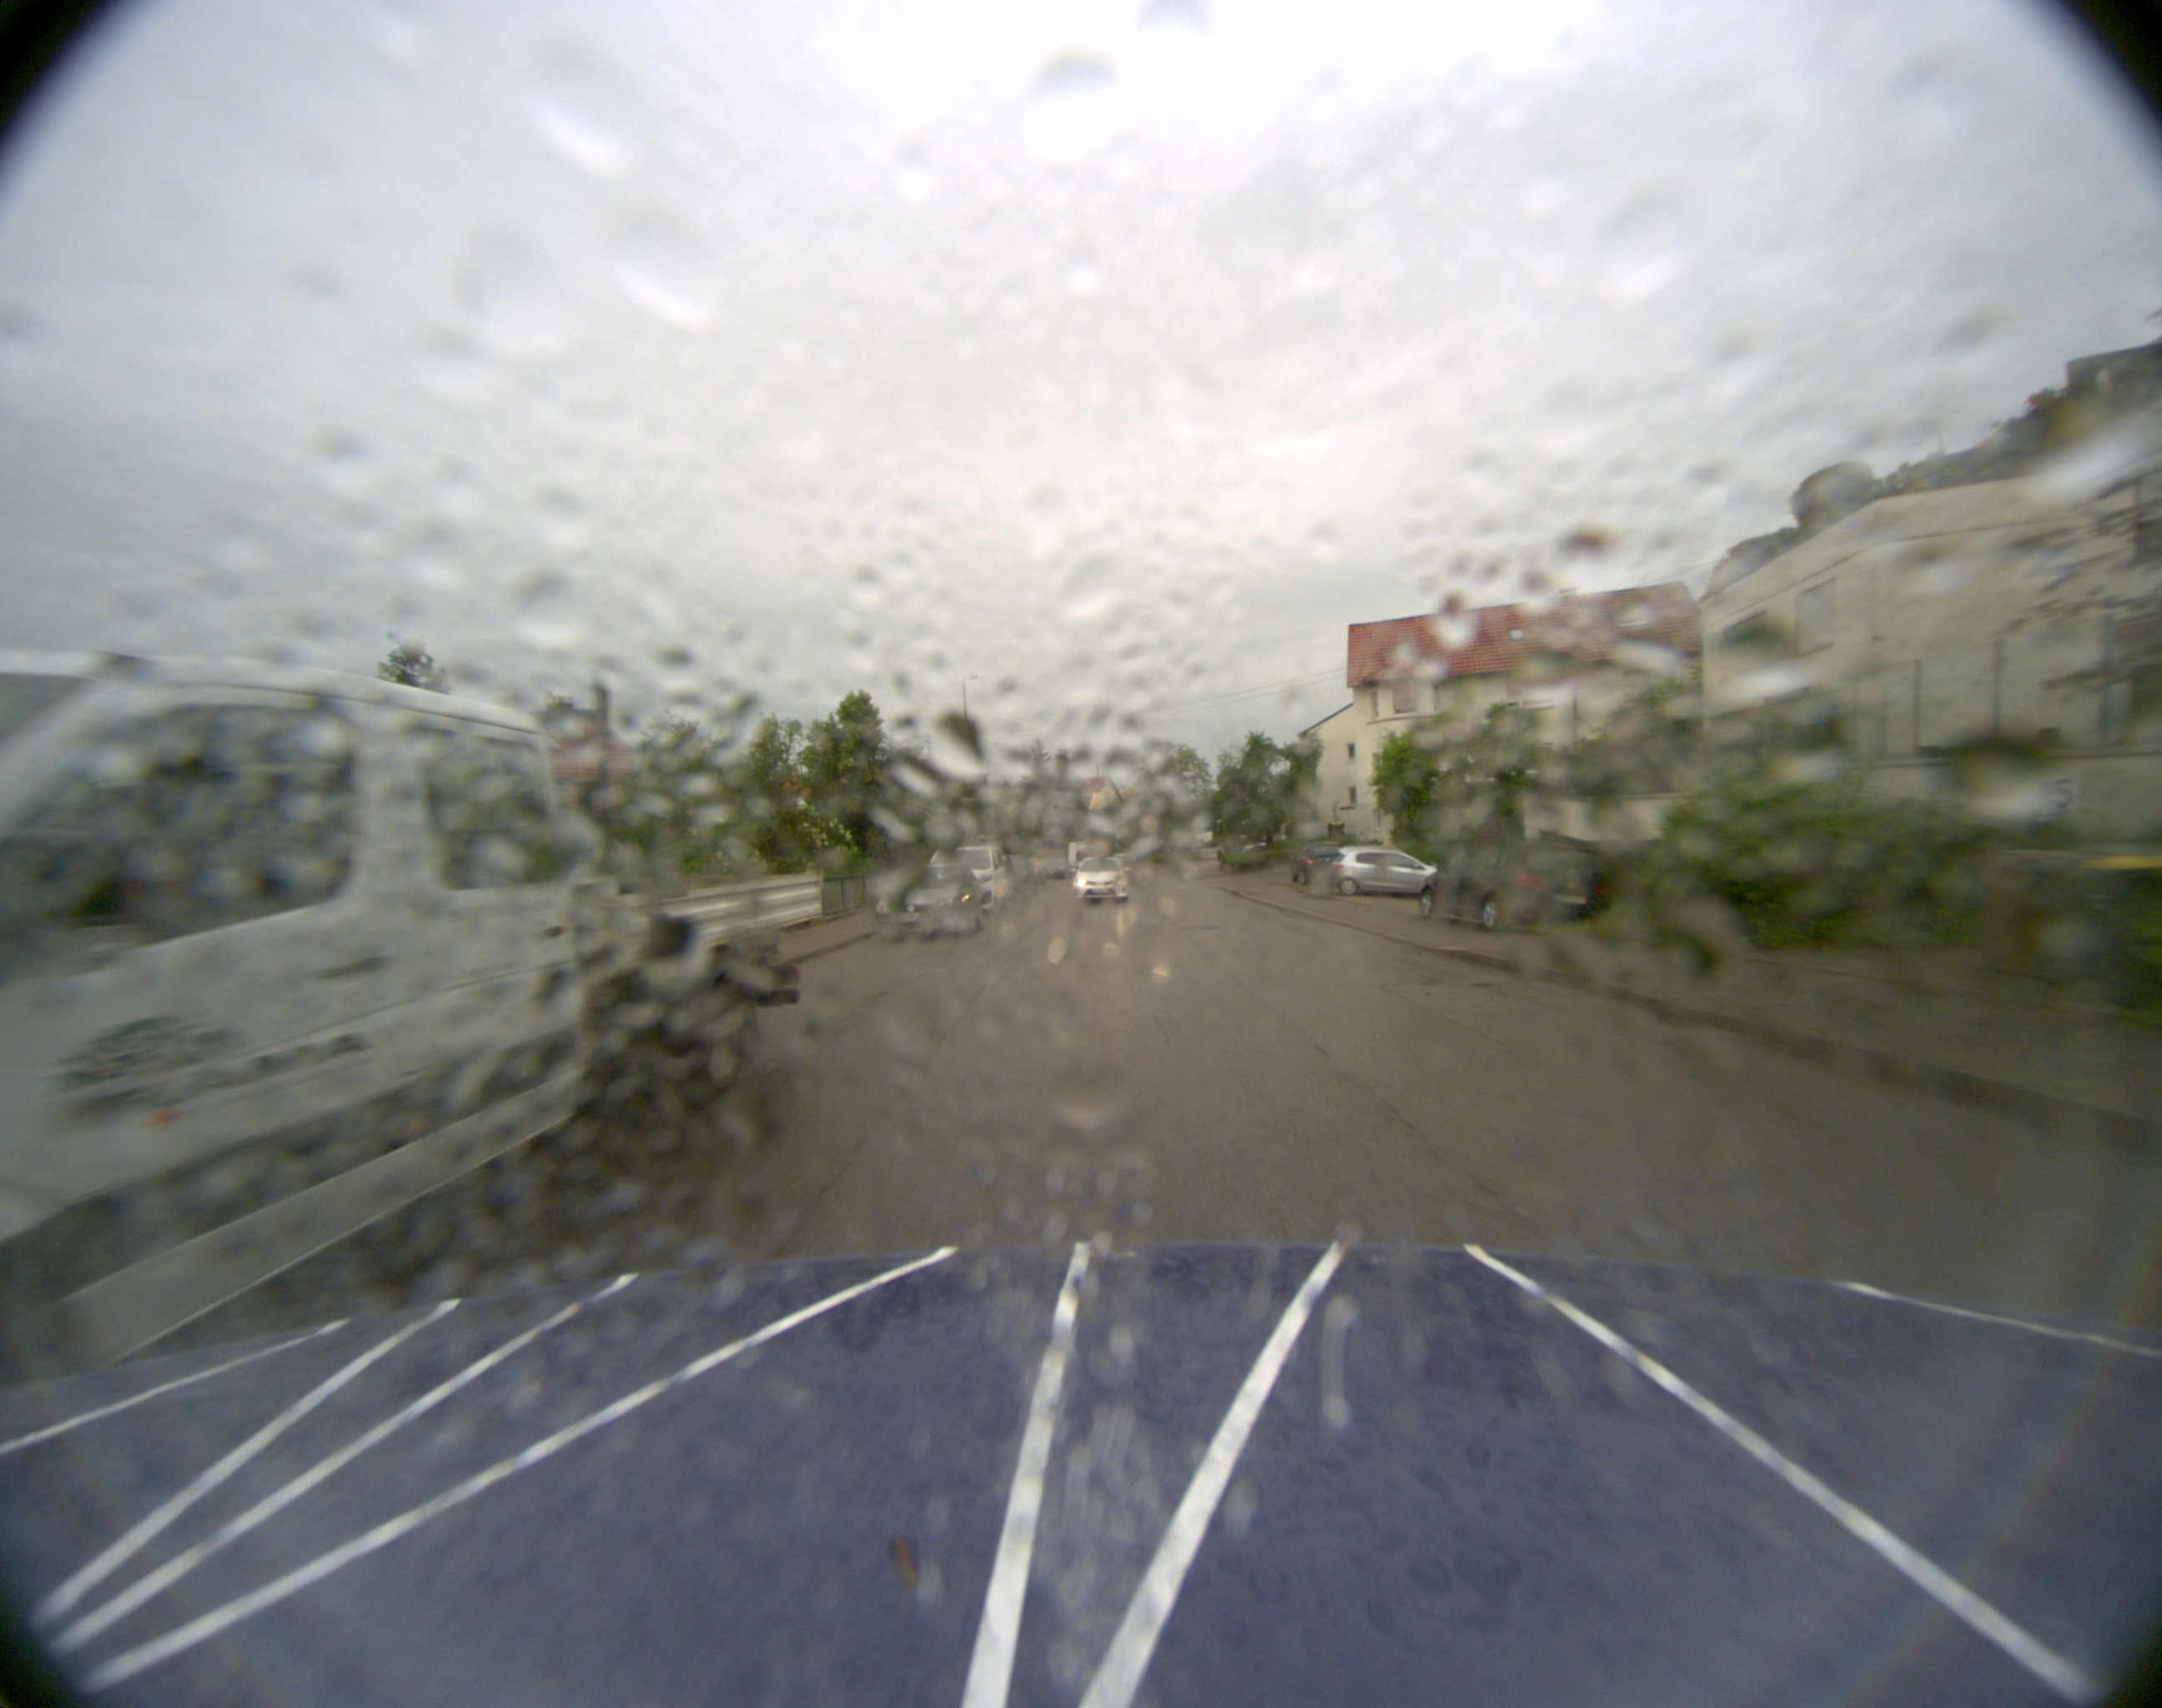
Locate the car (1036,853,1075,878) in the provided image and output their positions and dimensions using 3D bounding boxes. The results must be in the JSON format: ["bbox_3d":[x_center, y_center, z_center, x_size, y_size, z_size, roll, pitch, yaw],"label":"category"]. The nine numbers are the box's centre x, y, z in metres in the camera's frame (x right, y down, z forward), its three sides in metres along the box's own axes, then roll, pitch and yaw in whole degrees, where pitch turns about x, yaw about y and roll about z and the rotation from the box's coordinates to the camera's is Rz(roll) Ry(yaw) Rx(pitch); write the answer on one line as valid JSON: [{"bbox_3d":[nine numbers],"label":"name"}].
[{"bbox_3d":[-1.616,0.703,49.864,1.796,1.451,4.790,-1,1,7],"label":"car"}]

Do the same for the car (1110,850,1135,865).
[{"bbox_3d":[4.150,0.329,75.412,1.635,1.448,3.705,-1,1,18],"label":"car"}]

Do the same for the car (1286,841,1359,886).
[{"bbox_3d":[8.818,0.298,28.099,1.769,1.368,4.249,-5,0,8],"label":"car"}]

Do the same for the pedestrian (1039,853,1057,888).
[{"bbox_3d":[-1.548,0.761,35.616,0.718,1.625,0.707,-2,1,2],"label":"pedestrian"}]

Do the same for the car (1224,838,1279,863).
[{"bbox_3d":[15.241,-0.297,67.689,4.517,1.604,1.934,-8,-1,16],"label":"car"}]

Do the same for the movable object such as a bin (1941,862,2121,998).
[{"bbox_3d":[8.127,0.619,6.545,0.698,1.076,0.710,-1,1,20],"label":"movable object such as a bin"}]

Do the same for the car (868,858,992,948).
[{"bbox_3d":[-3.039,0.920,16.079,1.652,1.554,3.963,-1,1,2],"label":"car"}]

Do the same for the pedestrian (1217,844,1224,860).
[{"bbox_3d":[14.294,-0.223,77.869,0.657,1.639,0.733,-2,0,13],"label":"pedestrian"}]

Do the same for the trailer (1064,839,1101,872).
[{"bbox_3d":[0.196,0.056,60.760,1.952,2.442,5.438,-1,1,11],"label":"trailer"}]

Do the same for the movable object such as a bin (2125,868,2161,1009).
[{"bbox_3d":[8.592,0.648,5.648,0.698,1.076,0.710,-1,1,20],"label":"movable object such as a bin"}]

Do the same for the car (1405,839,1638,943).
[{"bbox_3d":[7.828,0.555,14.089,1.807,1.588,4.417,-1,1,1],"label":"car"}]

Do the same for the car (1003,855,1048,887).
[{"bbox_3d":[-2.740,0.823,38.303,1.739,1.406,3.852,-1,1,3],"label":"car"}]

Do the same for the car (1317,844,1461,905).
[{"bbox_3d":[9.303,0.566,23.272,3.831,1.470,1.805,4,3,15],"label":"car"}]

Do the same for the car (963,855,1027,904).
[{"bbox_3d":[-3.070,0.864,27.891,1.648,1.532,4.353,-1,1,2],"label":"car"}]

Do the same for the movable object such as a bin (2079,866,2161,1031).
[{"bbox_3d":[7.603,0.628,5.175,0.698,1.076,0.710,-1,1,20],"label":"movable object such as a bin"}]

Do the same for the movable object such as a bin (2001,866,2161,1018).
[{"bbox_3d":[7.862,0.647,5.868,0.698,1.076,0.710,-1,1,20],"label":"movable object such as a bin"}]

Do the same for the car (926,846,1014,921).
[{"bbox_3d":[-3.035,0.719,21.739,1.854,1.871,4.909,-1,1,-1],"label":"car"}]

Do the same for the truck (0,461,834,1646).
[{"bbox_3d":[-3.455,0.428,3.459,2.244,2.616,6.538,-1,1,2],"label":"truck"}]

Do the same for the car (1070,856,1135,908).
[{"bbox_3d":[0.732,0.833,24.719,1.863,1.370,4.181,-3,1,3],"label":"car"}]

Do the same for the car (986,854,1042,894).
[{"bbox_3d":[-2.845,0.825,33.083,1.820,1.498,4.724,-1,1,2],"label":"car"}]

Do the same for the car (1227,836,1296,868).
[{"bbox_3d":[12.415,-0.146,52.191,4.258,1.423,1.768,-11,-2,21],"label":"car"}]
